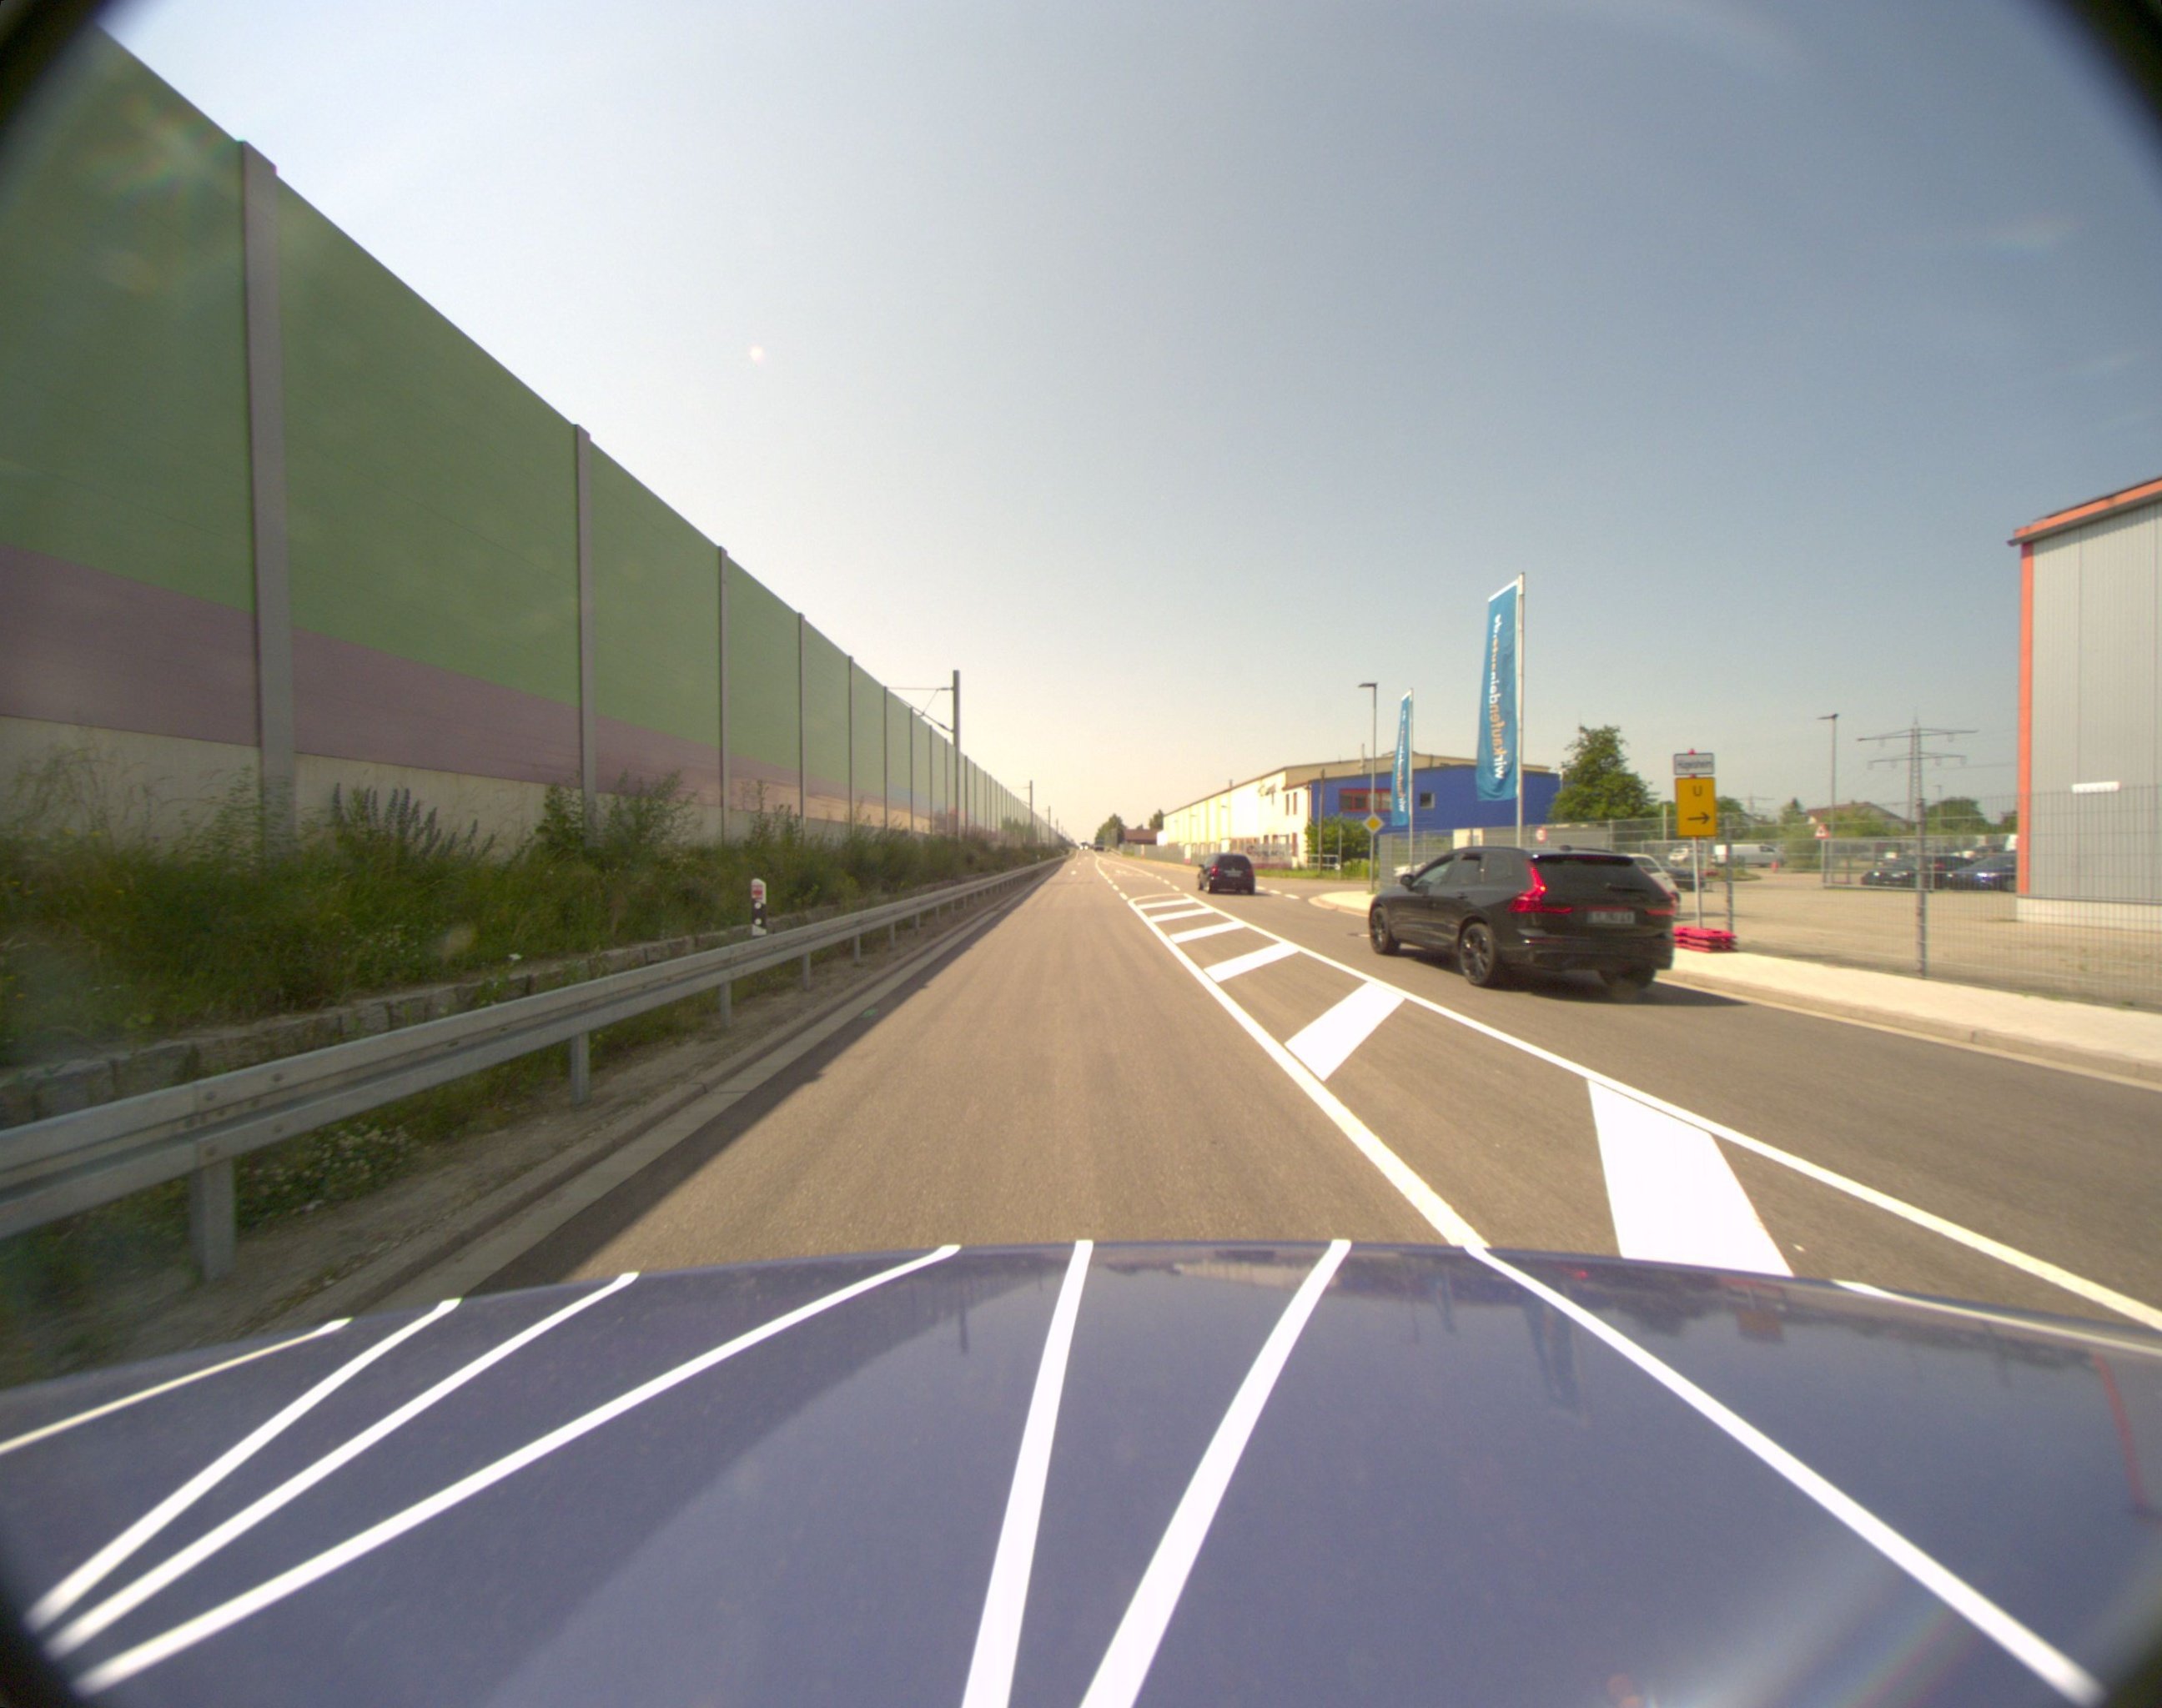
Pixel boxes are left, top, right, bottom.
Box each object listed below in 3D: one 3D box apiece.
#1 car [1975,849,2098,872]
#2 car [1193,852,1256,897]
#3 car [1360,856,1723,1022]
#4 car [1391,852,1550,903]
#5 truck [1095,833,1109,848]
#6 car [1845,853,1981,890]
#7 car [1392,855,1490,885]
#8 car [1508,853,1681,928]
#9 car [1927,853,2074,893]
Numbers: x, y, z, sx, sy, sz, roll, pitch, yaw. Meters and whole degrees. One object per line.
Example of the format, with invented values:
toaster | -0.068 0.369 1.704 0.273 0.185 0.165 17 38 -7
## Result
car | 61.851 0.412 49.307 2.001 1.419 4.571 0 0 -13
car | 5.573 0.747 29.924 1.746 1.584 3.796 1 0 0
car | 5.428 0.860 9.841 1.886 1.607 4.521 1 0 -1
car | 11.934 0.698 23.442 3.998 1.493 1.774 0 0 -3
truck | 5.562 -3.559 201.854 3.563 3.855 11.415 0 0 1
car | 34.544 0.721 31.596 3.999 1.493 1.774 0 0 -5
car | 18.240 0.813 38.688 4.156 1.493 1.776 0 0 7
car | 11.257 0.733 16.655 3.491 1.456 1.587 -1 1 -25
car | 35.368 0.725 29.291 3.810 1.493 1.774 0 0 -5
